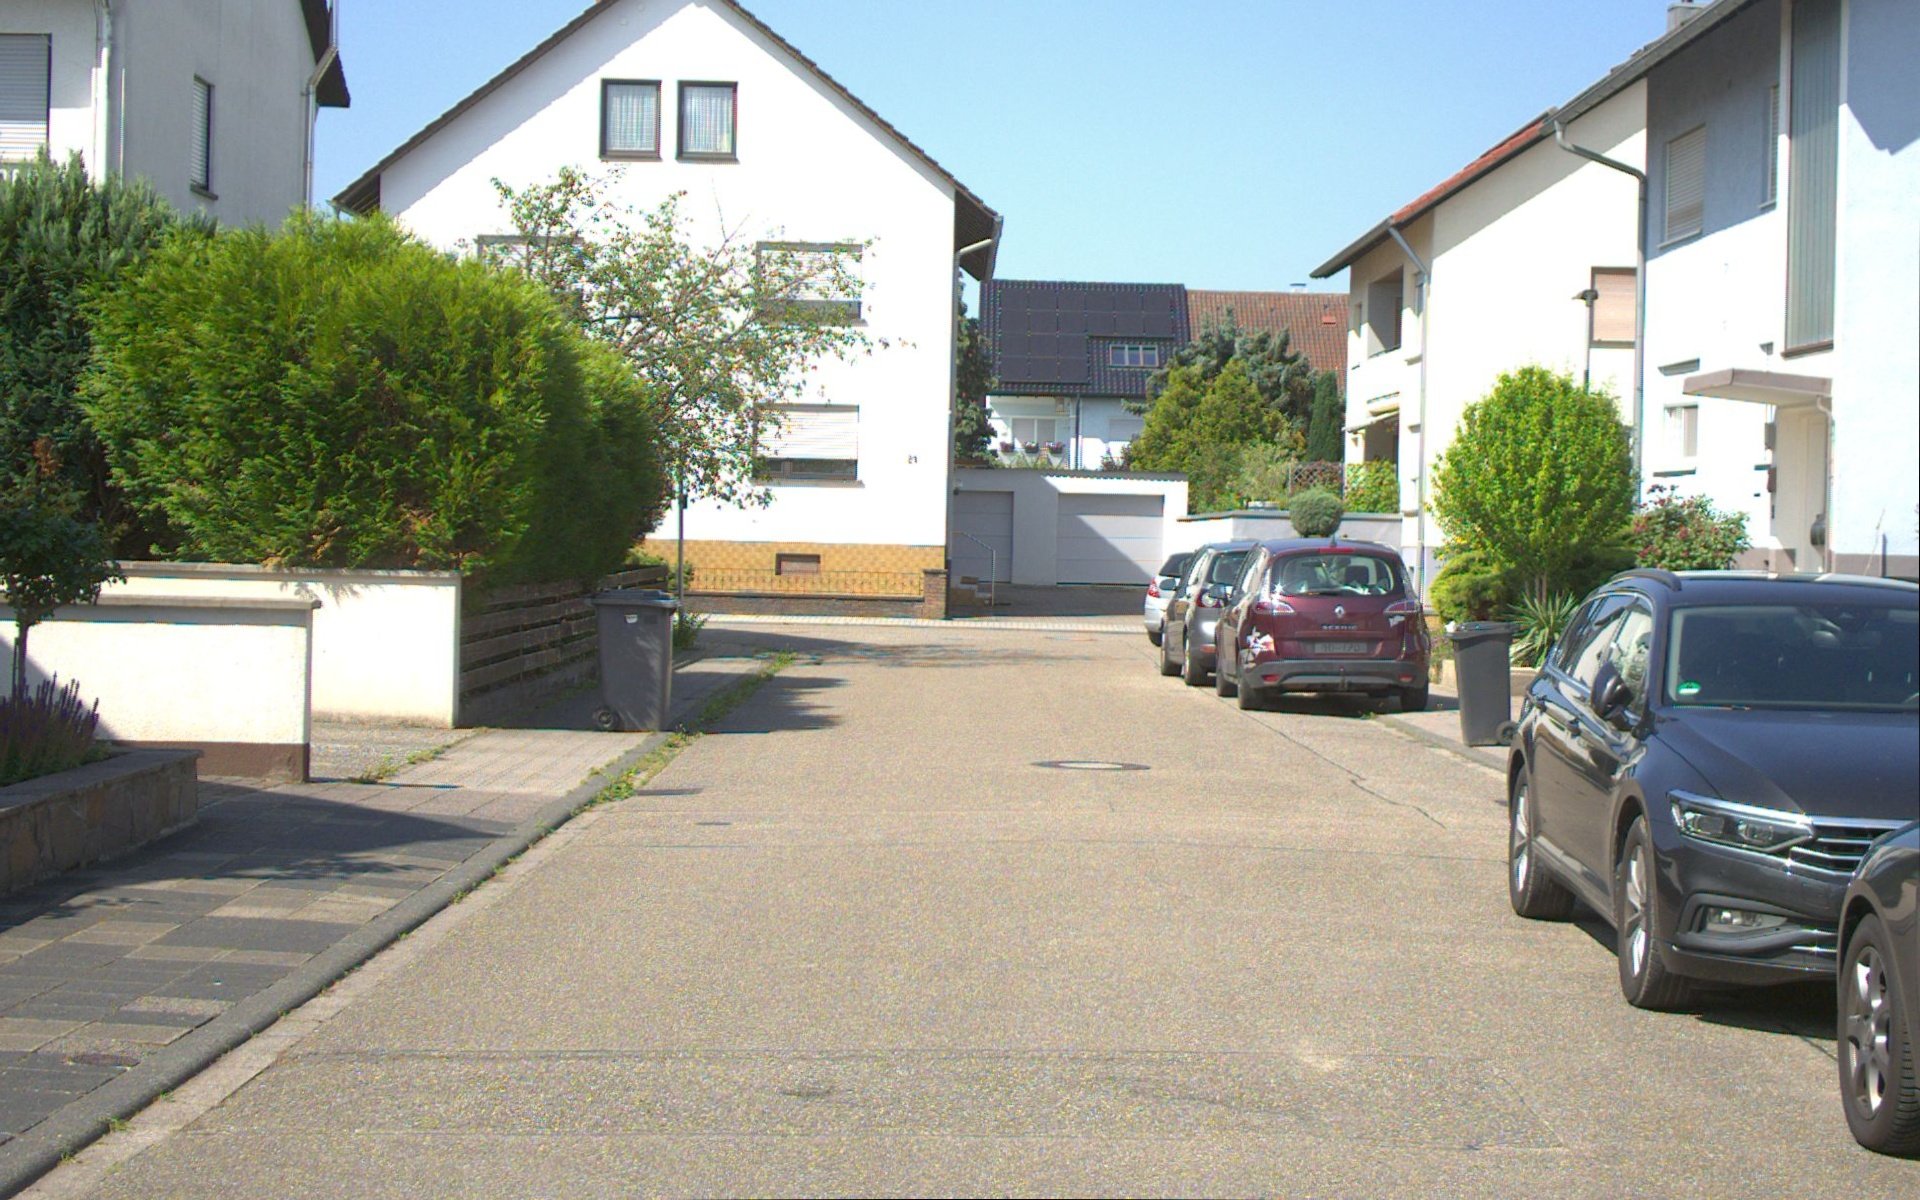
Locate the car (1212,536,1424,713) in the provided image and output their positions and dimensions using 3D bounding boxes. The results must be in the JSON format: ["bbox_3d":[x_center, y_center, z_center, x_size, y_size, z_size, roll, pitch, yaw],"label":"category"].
[{"bbox_3d":[3.441,0.187,33.644,1.645,1.576,4.147,1,1,0],"label":"car"}]

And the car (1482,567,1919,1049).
[{"bbox_3d":[3.101,0.634,12.878,1.717,1.433,4.503,1,1,2],"label":"car"}]

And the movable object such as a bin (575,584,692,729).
[{"bbox_3d":[-2.475,0.423,26.091,0.818,1.060,0.611,1,1,0],"label":"movable object such as a bin"}]

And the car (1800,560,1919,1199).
[{"bbox_3d":[3.105,0.737,7.129,1.642,1.473,4.001,3,2,-1],"label":"car"}]

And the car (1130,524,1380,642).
[{"bbox_3d":[4.288,-0.227,49.600,1.649,1.576,3.800,3,1,40],"label":"car"}]

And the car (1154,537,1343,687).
[{"bbox_3d":[3.183,0.088,38.563,1.645,1.540,4.048,1,1,-2],"label":"car"}]
